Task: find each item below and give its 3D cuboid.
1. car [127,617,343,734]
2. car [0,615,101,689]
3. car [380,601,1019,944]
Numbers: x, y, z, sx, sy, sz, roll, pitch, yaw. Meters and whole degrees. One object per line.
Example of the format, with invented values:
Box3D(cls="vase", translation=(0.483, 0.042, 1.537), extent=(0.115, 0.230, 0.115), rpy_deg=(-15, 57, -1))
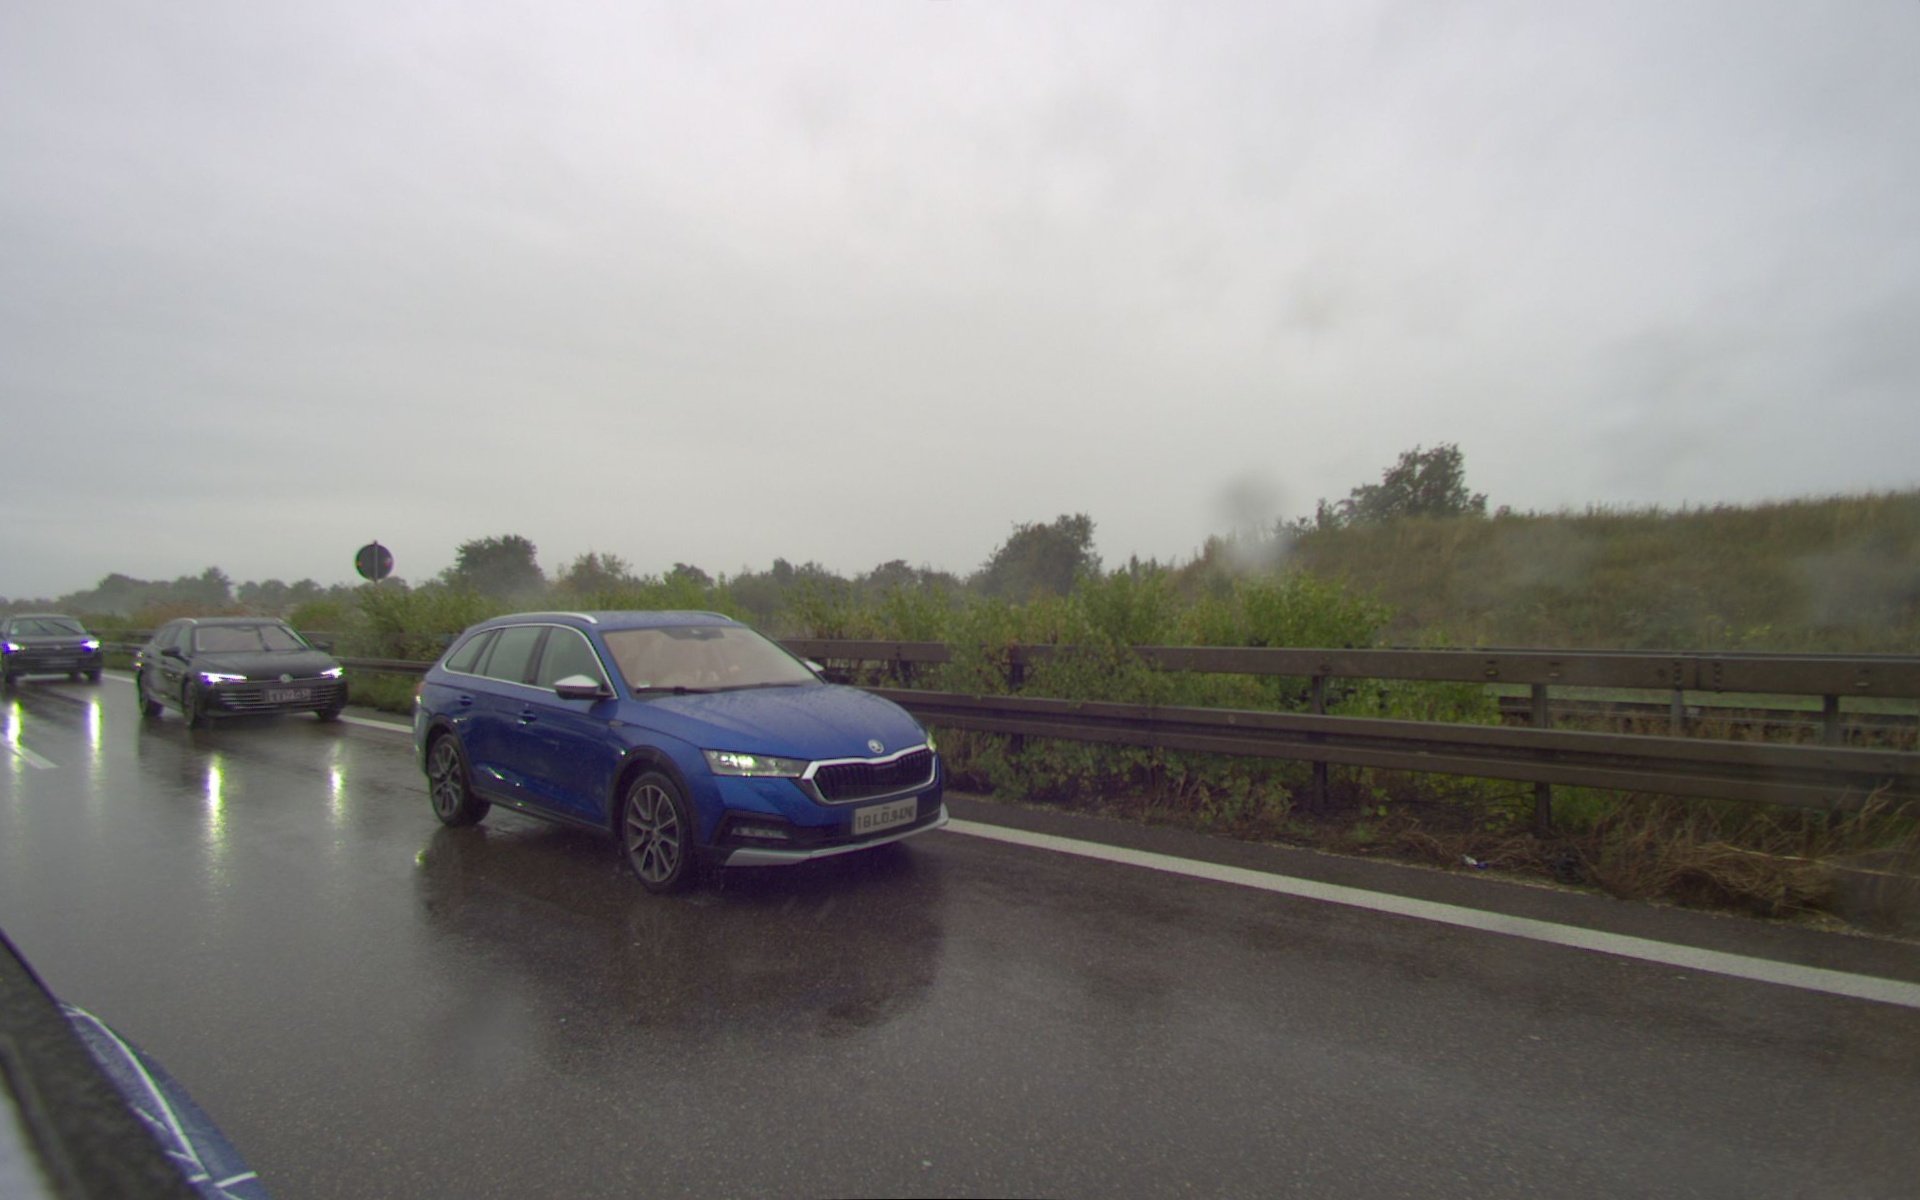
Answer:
Box3D(cls="car", translation=(-10.647, 1.004, 14.739), extent=(4.368, 1.447, 1.592), rpy_deg=(-1, -1, 41))
Box3D(cls="car", translation=(-22.810, 1.231, 24.952), extent=(4.266, 1.644, 1.865), rpy_deg=(-1, -1, 41))
Box3D(cls="car", translation=(-1.943, 0.793, 6.557), extent=(4.509, 1.487, 1.768), rpy_deg=(-1, -1, 41))
